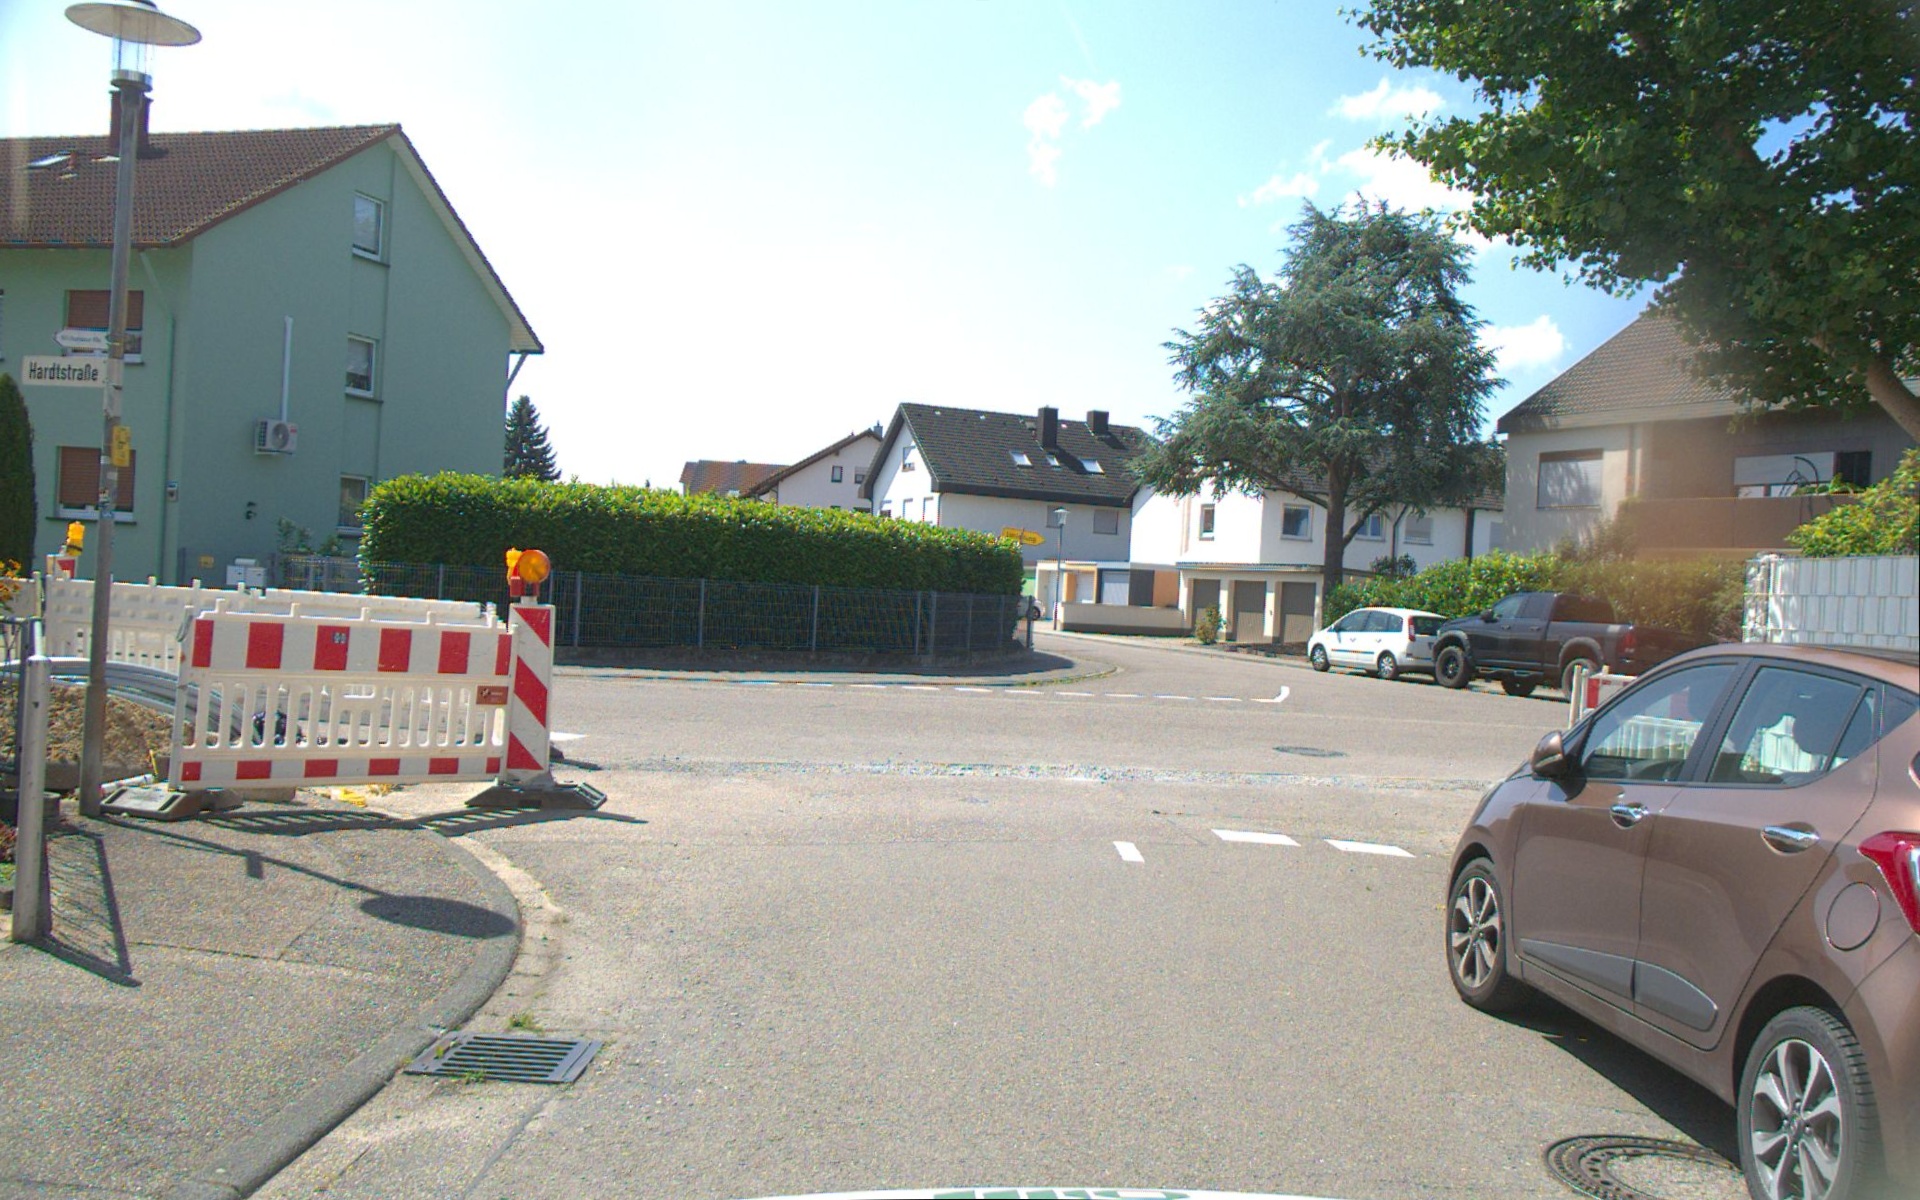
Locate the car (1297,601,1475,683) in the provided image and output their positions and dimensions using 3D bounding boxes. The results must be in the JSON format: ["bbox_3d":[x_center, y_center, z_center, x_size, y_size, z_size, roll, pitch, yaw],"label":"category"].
[{"bbox_3d":[9.855,0.943,38.578,1.774,1.590,4.113,4,1,-24],"label":"car"}]

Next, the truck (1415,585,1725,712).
[{"bbox_3d":[11.814,0.875,32.565,2.334,2.048,5.669,3,0,-25],"label":"truck"}]

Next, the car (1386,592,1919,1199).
[{"bbox_3d":[2.928,0.856,5.566,1.679,1.558,4.034,7,0,-2],"label":"car"}]

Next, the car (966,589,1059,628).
[{"bbox_3d":[2.258,0.355,71.506,3.549,1.433,1.772,3,0,-22],"label":"car"}]
